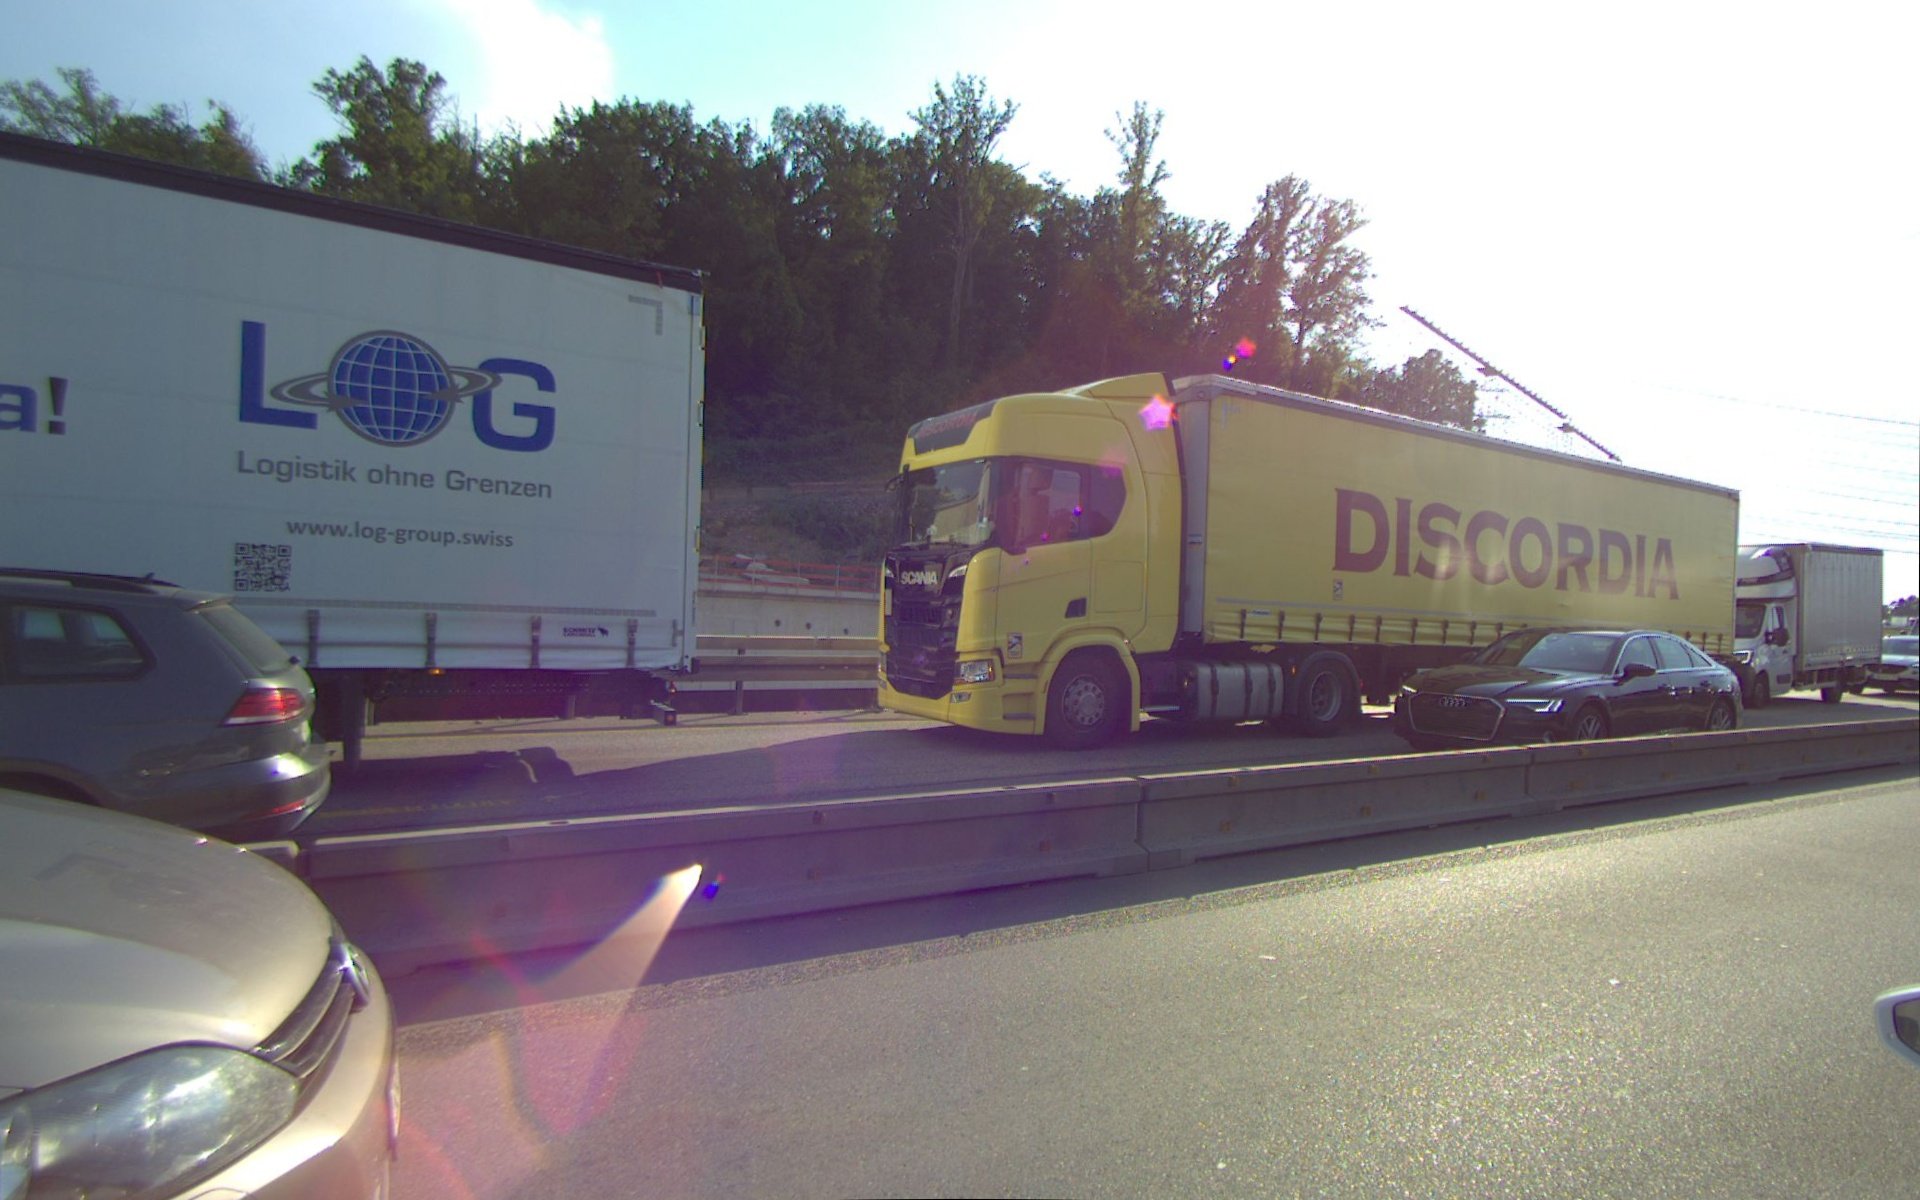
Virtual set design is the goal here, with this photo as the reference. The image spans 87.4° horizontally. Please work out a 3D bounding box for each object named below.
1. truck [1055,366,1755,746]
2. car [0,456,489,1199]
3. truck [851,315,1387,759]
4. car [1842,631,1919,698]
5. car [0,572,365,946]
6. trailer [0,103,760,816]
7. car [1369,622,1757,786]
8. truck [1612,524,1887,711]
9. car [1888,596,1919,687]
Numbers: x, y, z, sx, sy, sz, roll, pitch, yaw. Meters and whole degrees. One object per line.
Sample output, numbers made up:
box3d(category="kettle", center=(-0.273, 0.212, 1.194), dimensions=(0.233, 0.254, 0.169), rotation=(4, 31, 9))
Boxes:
box3d(category="truck", center=(7.920, -0.226, 15.821), dimensions=(13.998, 4.142, 2.693), rotation=(2, -1, -32))
box3d(category="car", center=(-2.792, 0.570, 0.989), dimensions=(4.052, 1.595, 1.675), rotation=(2, 0, -31))
box3d(category="truck", center=(2.047, -0.482, 12.114), dimensions=(6.034, 4.142, 2.698), rotation=(2, -1, -32))
box3d(category="car", center=(24.383, 1.638, 25.847), dimensions=(3.966, 1.543, 1.750), rotation=(2, 0, -37))
box3d(category="car", center=(-5.068, 0.579, 4.088), dimensions=(4.514, 1.448, 1.647), rotation=(2, 0, -32))
box3d(category="trailer", center=(-8.321, -0.906, 5.784), dimensions=(13.806, 4.089, 2.844), rotation=(2, -1, -30))
box3d(category="car", center=(6.865, 1.060, 11.284), dimensions=(4.621, 1.445, 1.798), rotation=(2, 0, -32))
box3d(category="truck", center=(17.409, 0.429, 21.959), dimensions=(7.537, 3.509, 2.432), rotation=(2, 0, -34))
box3d(category="car", center=(30.760, 1.336, 30.875), dimensions=(5.688, 2.655, 1.945), rotation=(3, -1, -33))
